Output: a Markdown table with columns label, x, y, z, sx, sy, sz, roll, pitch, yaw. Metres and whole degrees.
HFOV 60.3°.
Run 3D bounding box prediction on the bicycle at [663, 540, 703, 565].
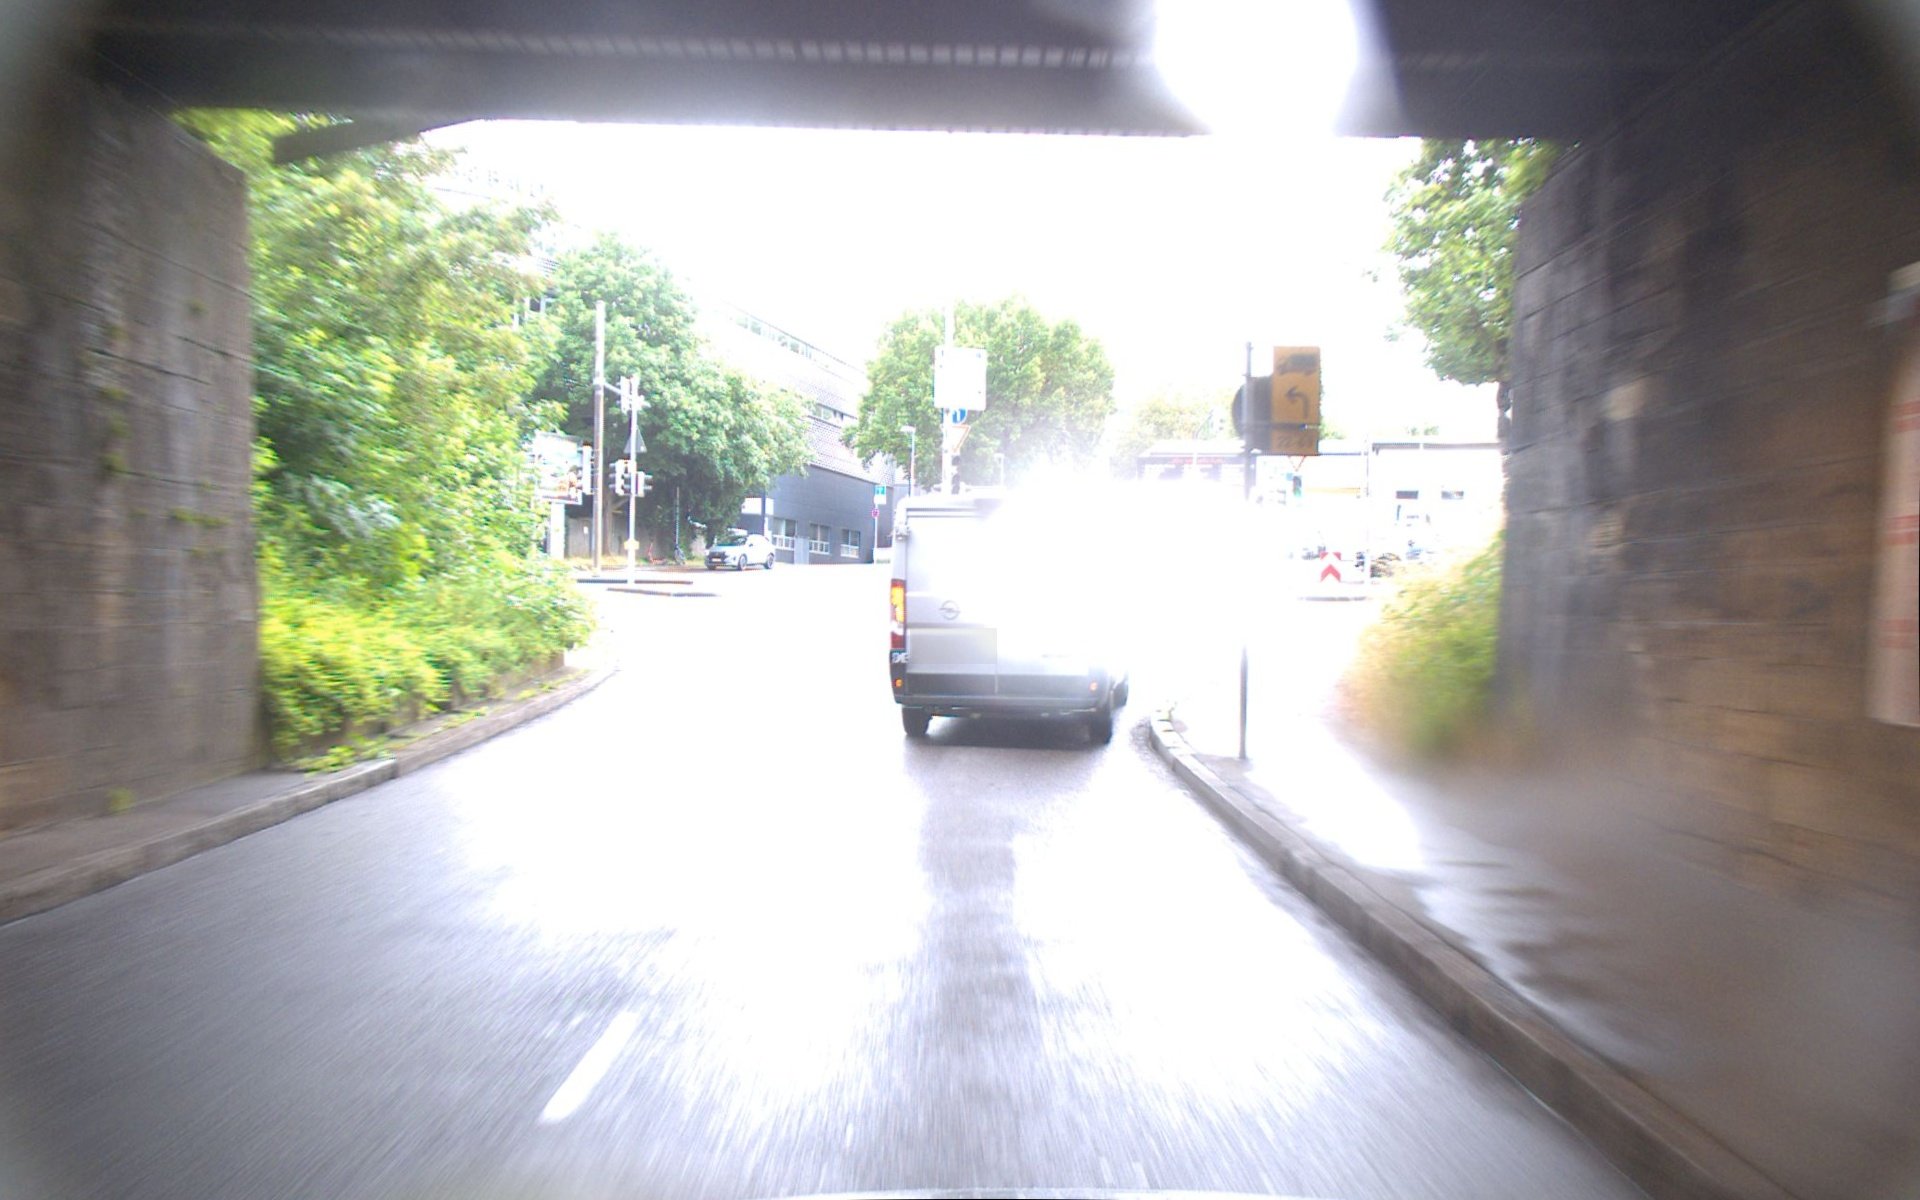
| label | x | y | z | sx | sy | sz | roll | pitch | yaw |
| --- | --- | --- | --- | --- | --- | --- | --- | --- | --- |
| bicycle | -13.454 | -2.306 | 80.407 | 0.908 | 1.148 | 2.291 | 1 | 1 | 20 |

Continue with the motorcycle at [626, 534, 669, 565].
| label | x | y | z | sx | sy | sz | roll | pitch | yaw |
| --- | --- | --- | --- | --- | --- | --- | --- | --- | --- |
| motorcycle | -15.186 | -2.467 | 80.359 | 1.948 | 1.446 | 0.658 | 1 | 0 | -5 |

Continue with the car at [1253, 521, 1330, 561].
| label | x | y | z | sx | sy | sz | roll | pitch | yaw |
| --- | --- | --- | --- | --- | --- | --- | --- | --- | --- |
| car | 13.766 | -2.428 | 68.903 | 1.956 | 1.566 | 3.994 | 1 | 1 | -7 |

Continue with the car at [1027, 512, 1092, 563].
| label | x | y | z | sx | sy | sz | roll | pitch | yaw |
| --- | --- | --- | --- | --- | --- | --- | --- | --- | --- |
| car | 4.118 | -2.591 | 69.043 | 1.956 | 1.981 | 3.994 | 1 | 1 | -7 |

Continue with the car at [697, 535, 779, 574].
| label | x | y | z | sx | sy | sz | roll | pitch | yaw |
| --- | --- | --- | --- | --- | --- | --- | --- | --- | --- |
| car | -10.359 | -2.106 | 77.437 | 1.954 | 1.718 | 3.997 | 1 | 1 | 25 |

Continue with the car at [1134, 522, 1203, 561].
| label | x | y | z | sx | sy | sz | roll | pitch | yaw |
| --- | --- | --- | --- | --- | --- | --- | --- | --- | --- |
| car | 8.713 | -2.422 | 69.553 | 1.956 | 1.512 | 3.994 | 1 | 1 | -7 |

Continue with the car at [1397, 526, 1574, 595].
| label | x | y | z | sx | sy | sz | roll | pitch | yaw |
| --- | --- | --- | --- | --- | --- | --- | --- | --- | --- |
| car | 12.048 | -0.864 | 37.842 | 4.056 | 1.463 | 1.819 | 0 | 0 | -36 |

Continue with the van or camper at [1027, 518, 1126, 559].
| label | x | y | z | sx | sy | sz | roll | pitch | yaw |
| --- | --- | --- | --- | --- | --- | --- | --- | --- | --- |
| van or camper | 6.220 | -3.281 | 88.211 | 5.196 | 2.049 | 2.079 | 1 | 1 | 5 |

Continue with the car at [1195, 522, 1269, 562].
| label | x | y | z | sx | sy | sz | roll | pitch | yaw |
| --- | --- | --- | --- | --- | --- | --- | --- | --- | --- |
| car | 11.310 | -2.404 | 69.001 | 1.956 | 1.566 | 3.994 | 1 | 1 | -7 |

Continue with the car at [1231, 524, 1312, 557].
| label | x | y | z | sx | sy | sz | roll | pitch | yaw |
| --- | --- | --- | --- | --- | --- | --- | --- | --- | --- |
| car | 15.483 | -2.949 | 82.378 | 3.902 | 1.566 | 2.002 | 1 | 1 | 10 |

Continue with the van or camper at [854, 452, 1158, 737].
| label | x | y | z | sx | sy | sz | roll | pitch | yaw |
| --- | --- | --- | --- | --- | --- | --- | --- | --- | --- |
| van or camper | 0.677 | -0.116 | 16.940 | 2.641 | 2.458 | 4.907 | 1 | 1 | 7 |

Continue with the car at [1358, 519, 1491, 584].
| label | x | y | z | sx | sy | sz | roll | pitch | yaw |
| --- | --- | --- | --- | --- | --- | --- | --- | --- | --- |
| car | 15.297 | -1.600 | 54.624 | 3.992 | 2.049 | 2.002 | 1 | 1 | 9 |

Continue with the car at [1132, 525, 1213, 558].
| label | x | y | z | sx | sy | sz | roll | pitch | yaw |
| --- | --- | --- | --- | --- | --- | --- | --- | --- | --- |
| car | 10.717 | -2.922 | 83.155 | 3.902 | 1.566 | 2.002 | 1 | 1 | 10 |
